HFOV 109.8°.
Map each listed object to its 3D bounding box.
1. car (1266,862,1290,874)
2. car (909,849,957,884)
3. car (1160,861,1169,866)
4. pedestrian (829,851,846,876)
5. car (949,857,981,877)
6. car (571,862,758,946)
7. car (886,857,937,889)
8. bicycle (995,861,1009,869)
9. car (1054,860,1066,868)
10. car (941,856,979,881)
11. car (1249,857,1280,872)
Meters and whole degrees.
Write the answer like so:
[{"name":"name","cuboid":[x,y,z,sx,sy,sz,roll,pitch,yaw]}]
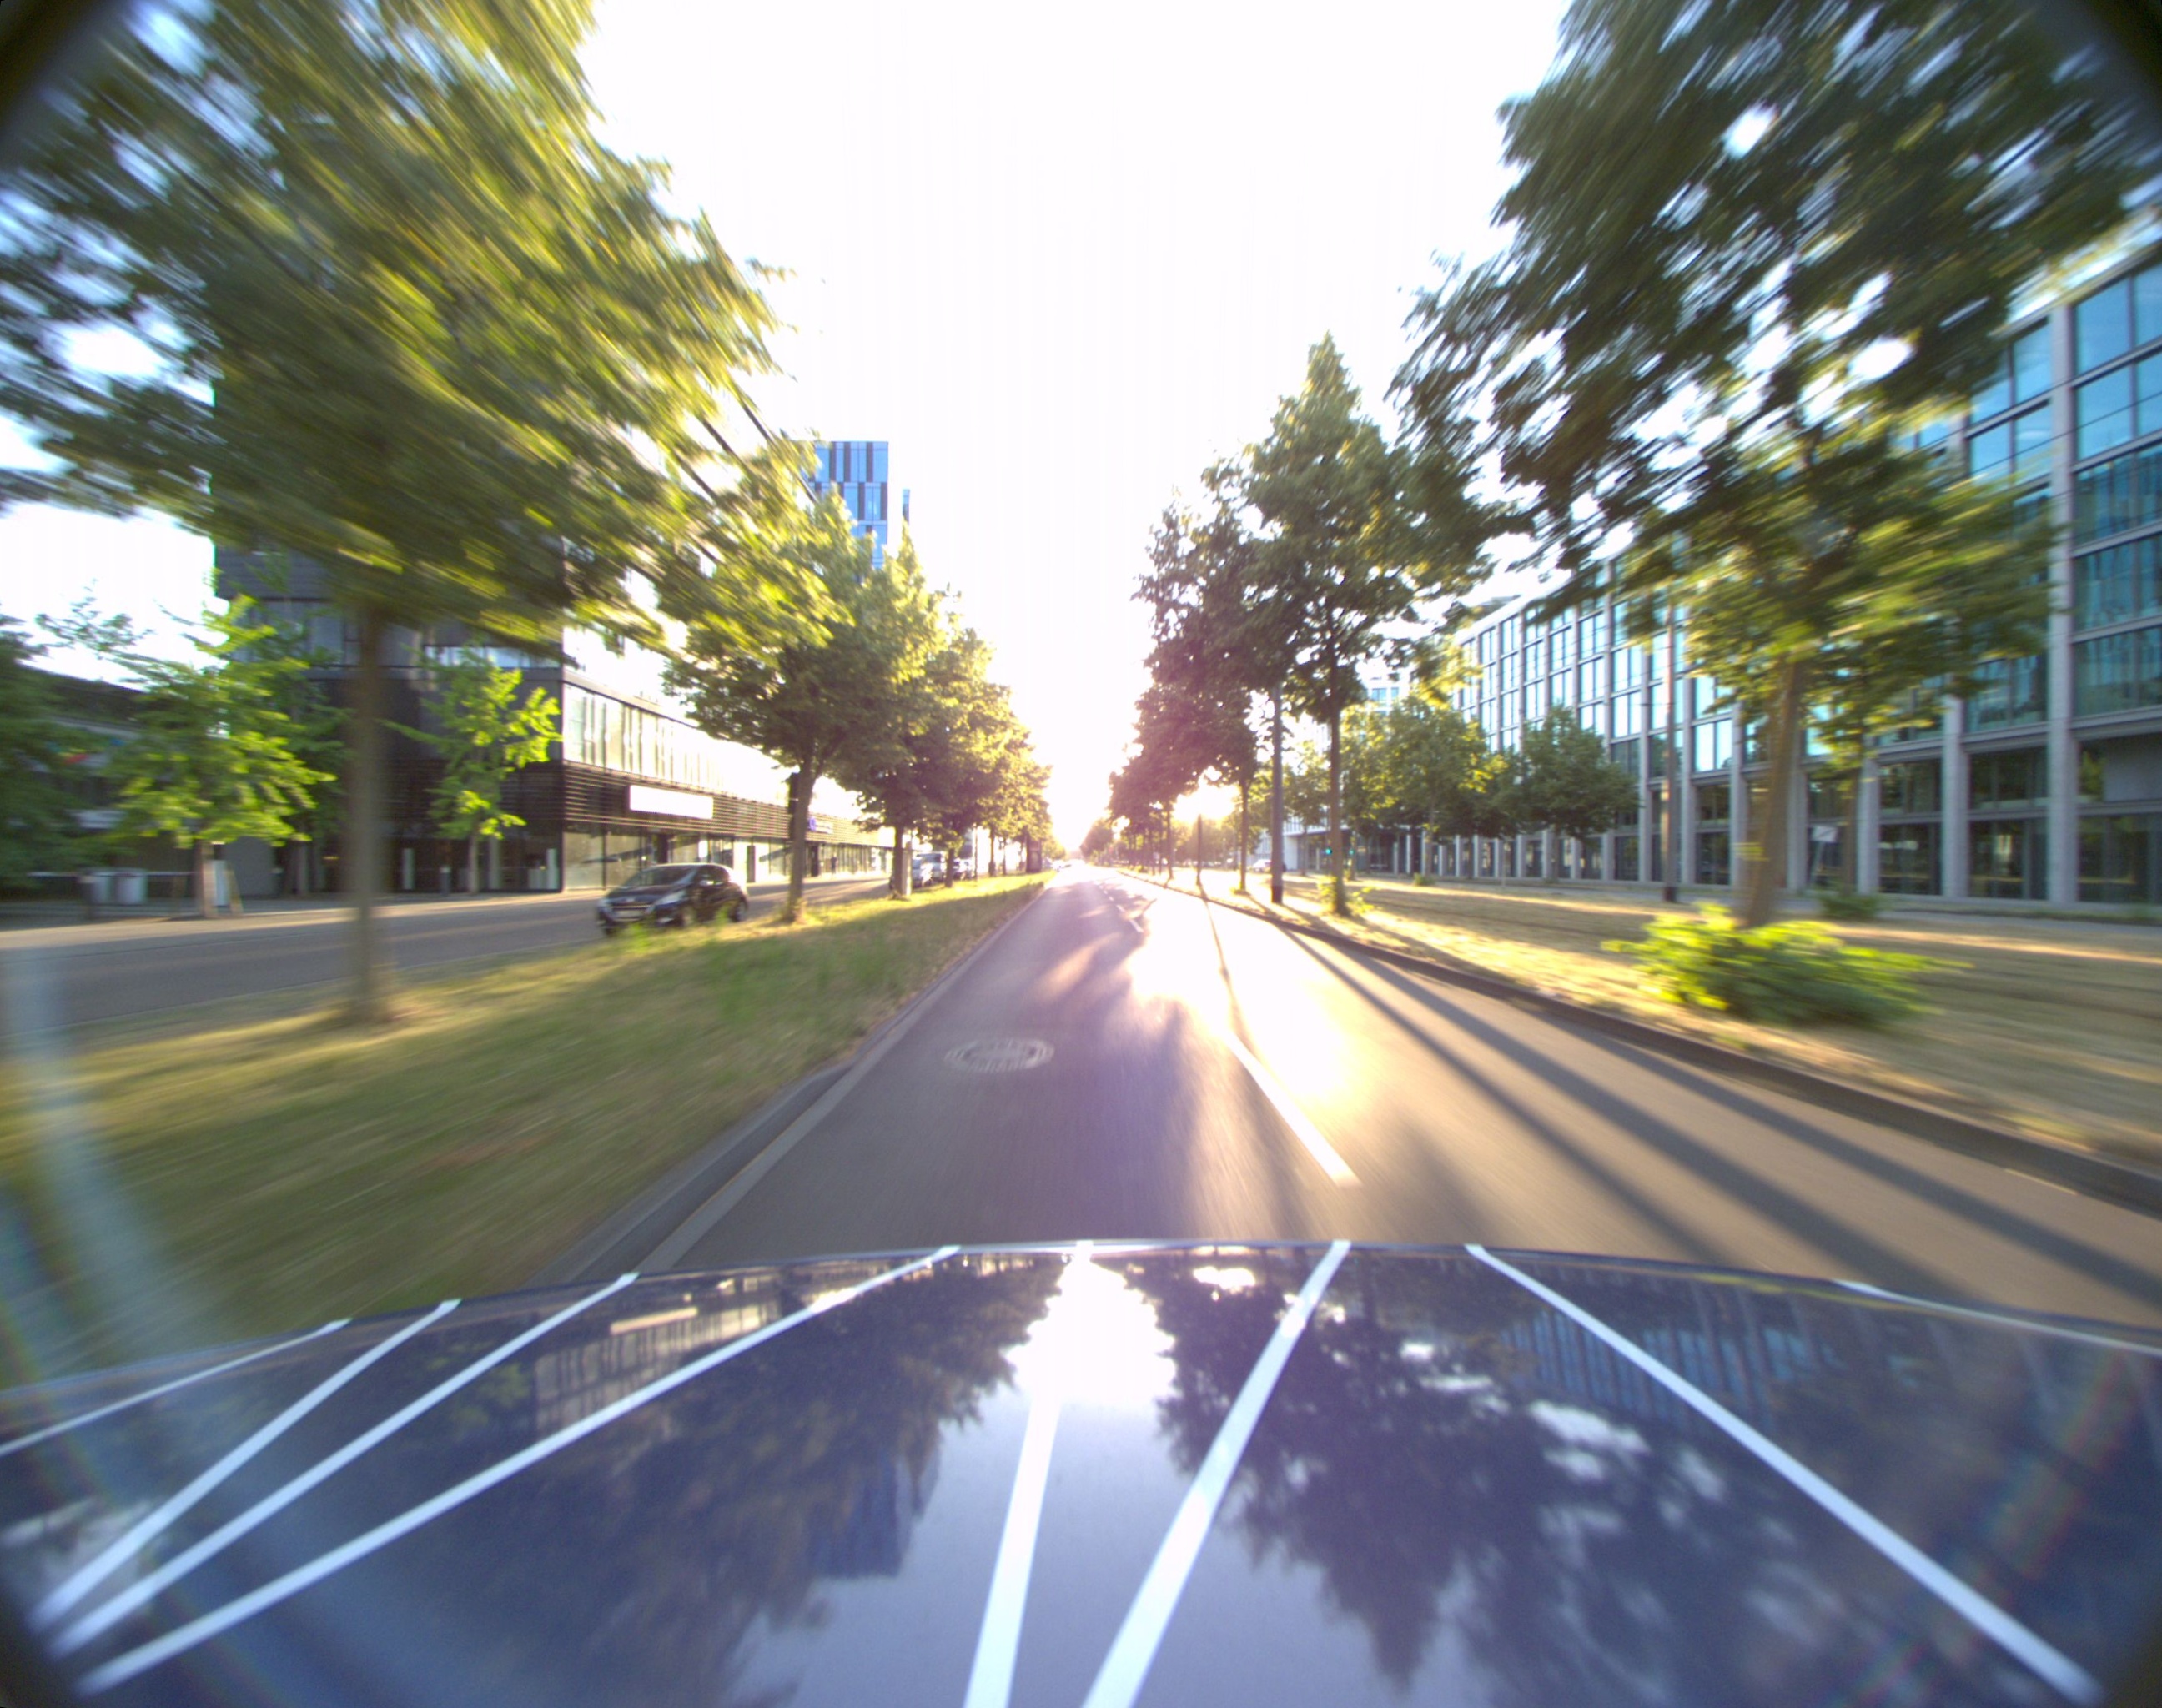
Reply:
[{"name":"car","cuboid":[24.817,1.745,95.818,1.936,1.414,4.388,0,0,0]},{"name":"car","cuboid":[-8.937,0.712,46.322,1.991,1.977,4.931,-1,0,-1]},{"name":"car","cuboid":[21.816,2.520,197.963,1.645,1.440,3.999,0,0,-3]},{"name":"pedestrian","cuboid":[-17.634,0.672,55.010,0.899,1.786,0.912,0,0,-2]},{"name":"car","cuboid":[-9.044,0.986,59.672,1.922,1.488,5.040,-1,0,-2]},{"name":"car","cuboid":[-8.774,0.970,16.462,1.785,1.485,4.000,-3,0,0]},{"name":"car","cuboid":[-8.957,0.978,40.391,1.843,1.561,4.060,-1,0,-1]},{"name":"bicycle","cuboid":[-8.766,1.234,84.556,1.718,0.905,0.363,0,0,33]},{"name":"car","cuboid":[-3.749,1.748,136.510,1.999,1.473,4.335,0,-1,-1]},{"name":"car","cuboid":[-8.361,0.970,52.677,1.864,1.488,4.289,3,0,0]},{"name":"car","cuboid":[19.086,1.089,79.138,1.907,1.477,4.630,0,0,-2]}]
